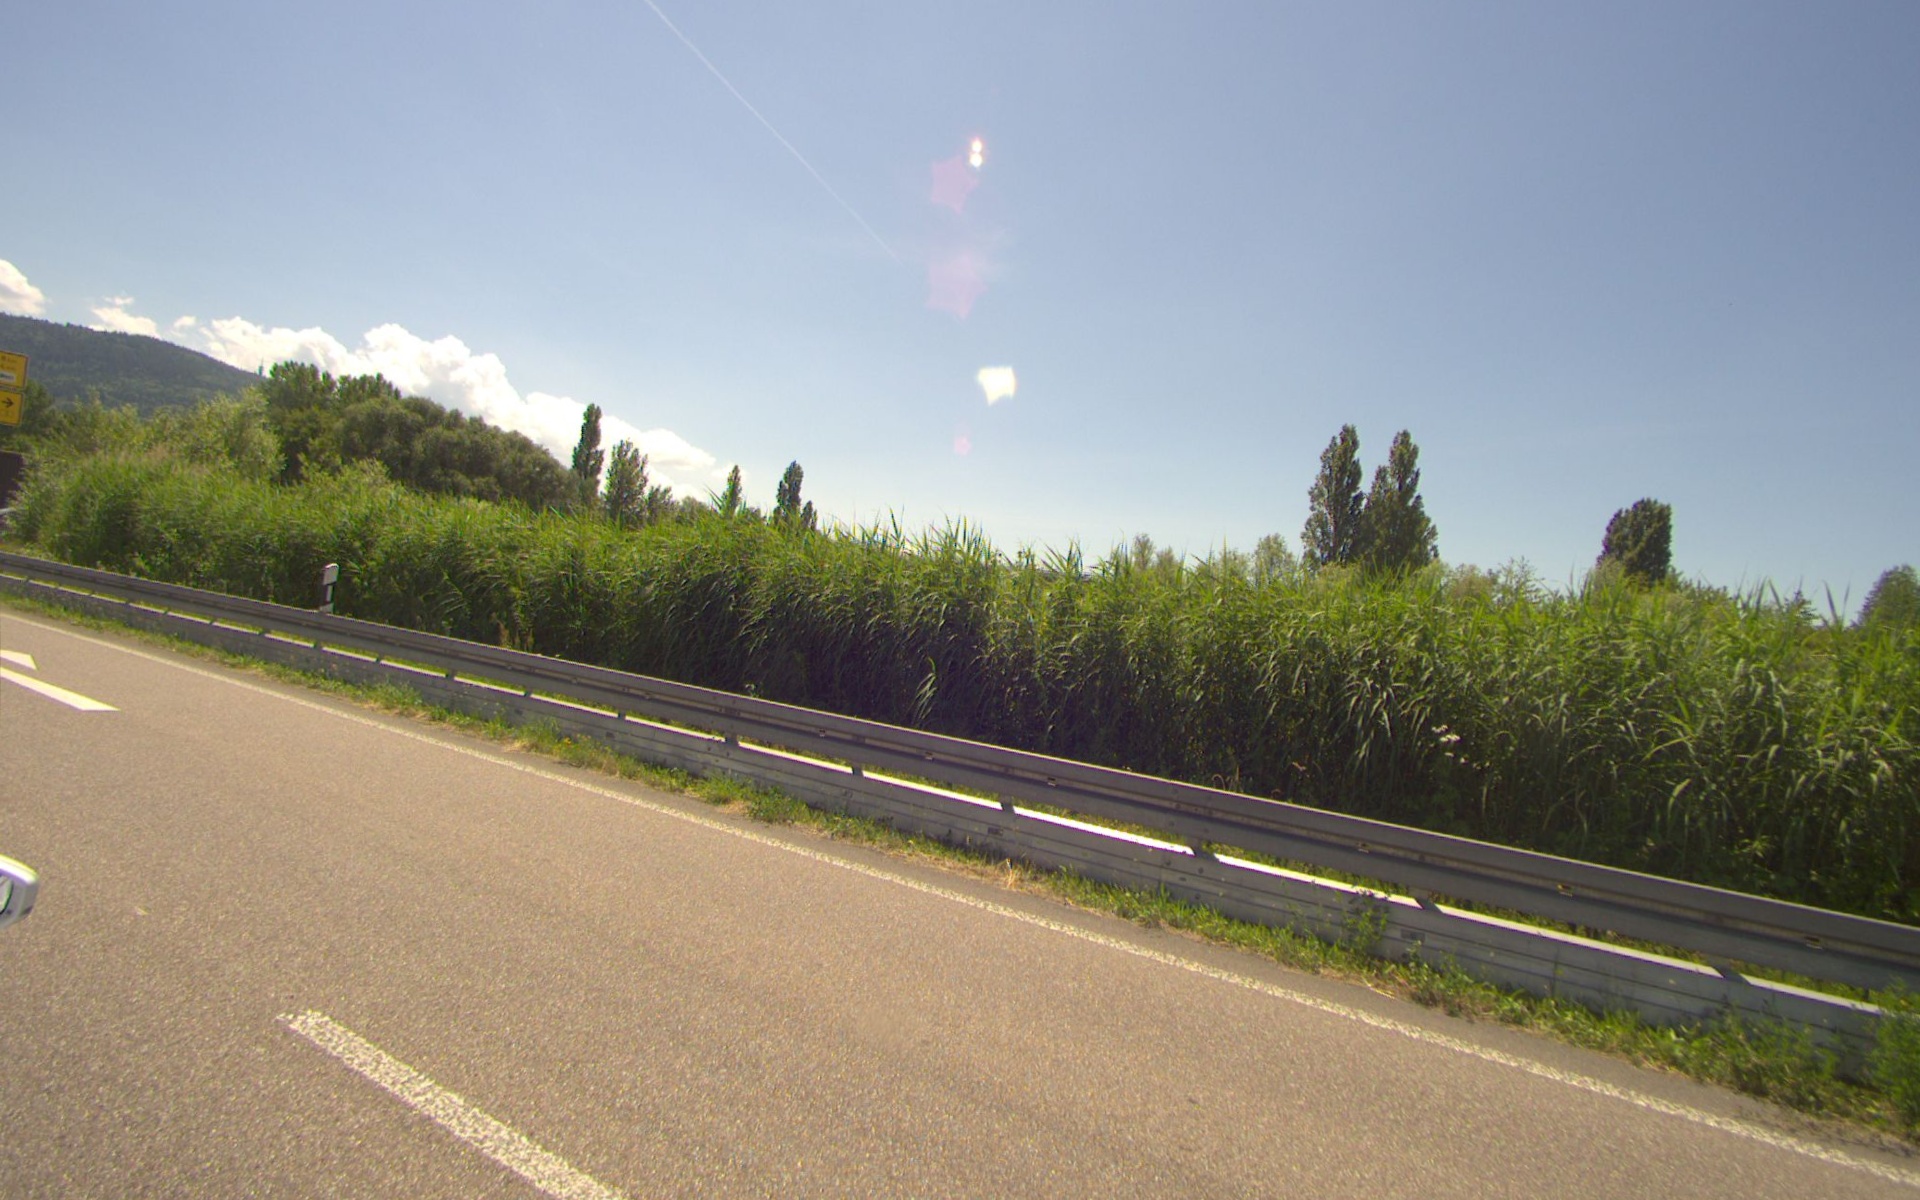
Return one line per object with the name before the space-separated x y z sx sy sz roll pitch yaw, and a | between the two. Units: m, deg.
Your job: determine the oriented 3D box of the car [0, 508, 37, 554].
car | -39.035 -2.957 38.957 1.966 1.675 4.321 6 -2 29
